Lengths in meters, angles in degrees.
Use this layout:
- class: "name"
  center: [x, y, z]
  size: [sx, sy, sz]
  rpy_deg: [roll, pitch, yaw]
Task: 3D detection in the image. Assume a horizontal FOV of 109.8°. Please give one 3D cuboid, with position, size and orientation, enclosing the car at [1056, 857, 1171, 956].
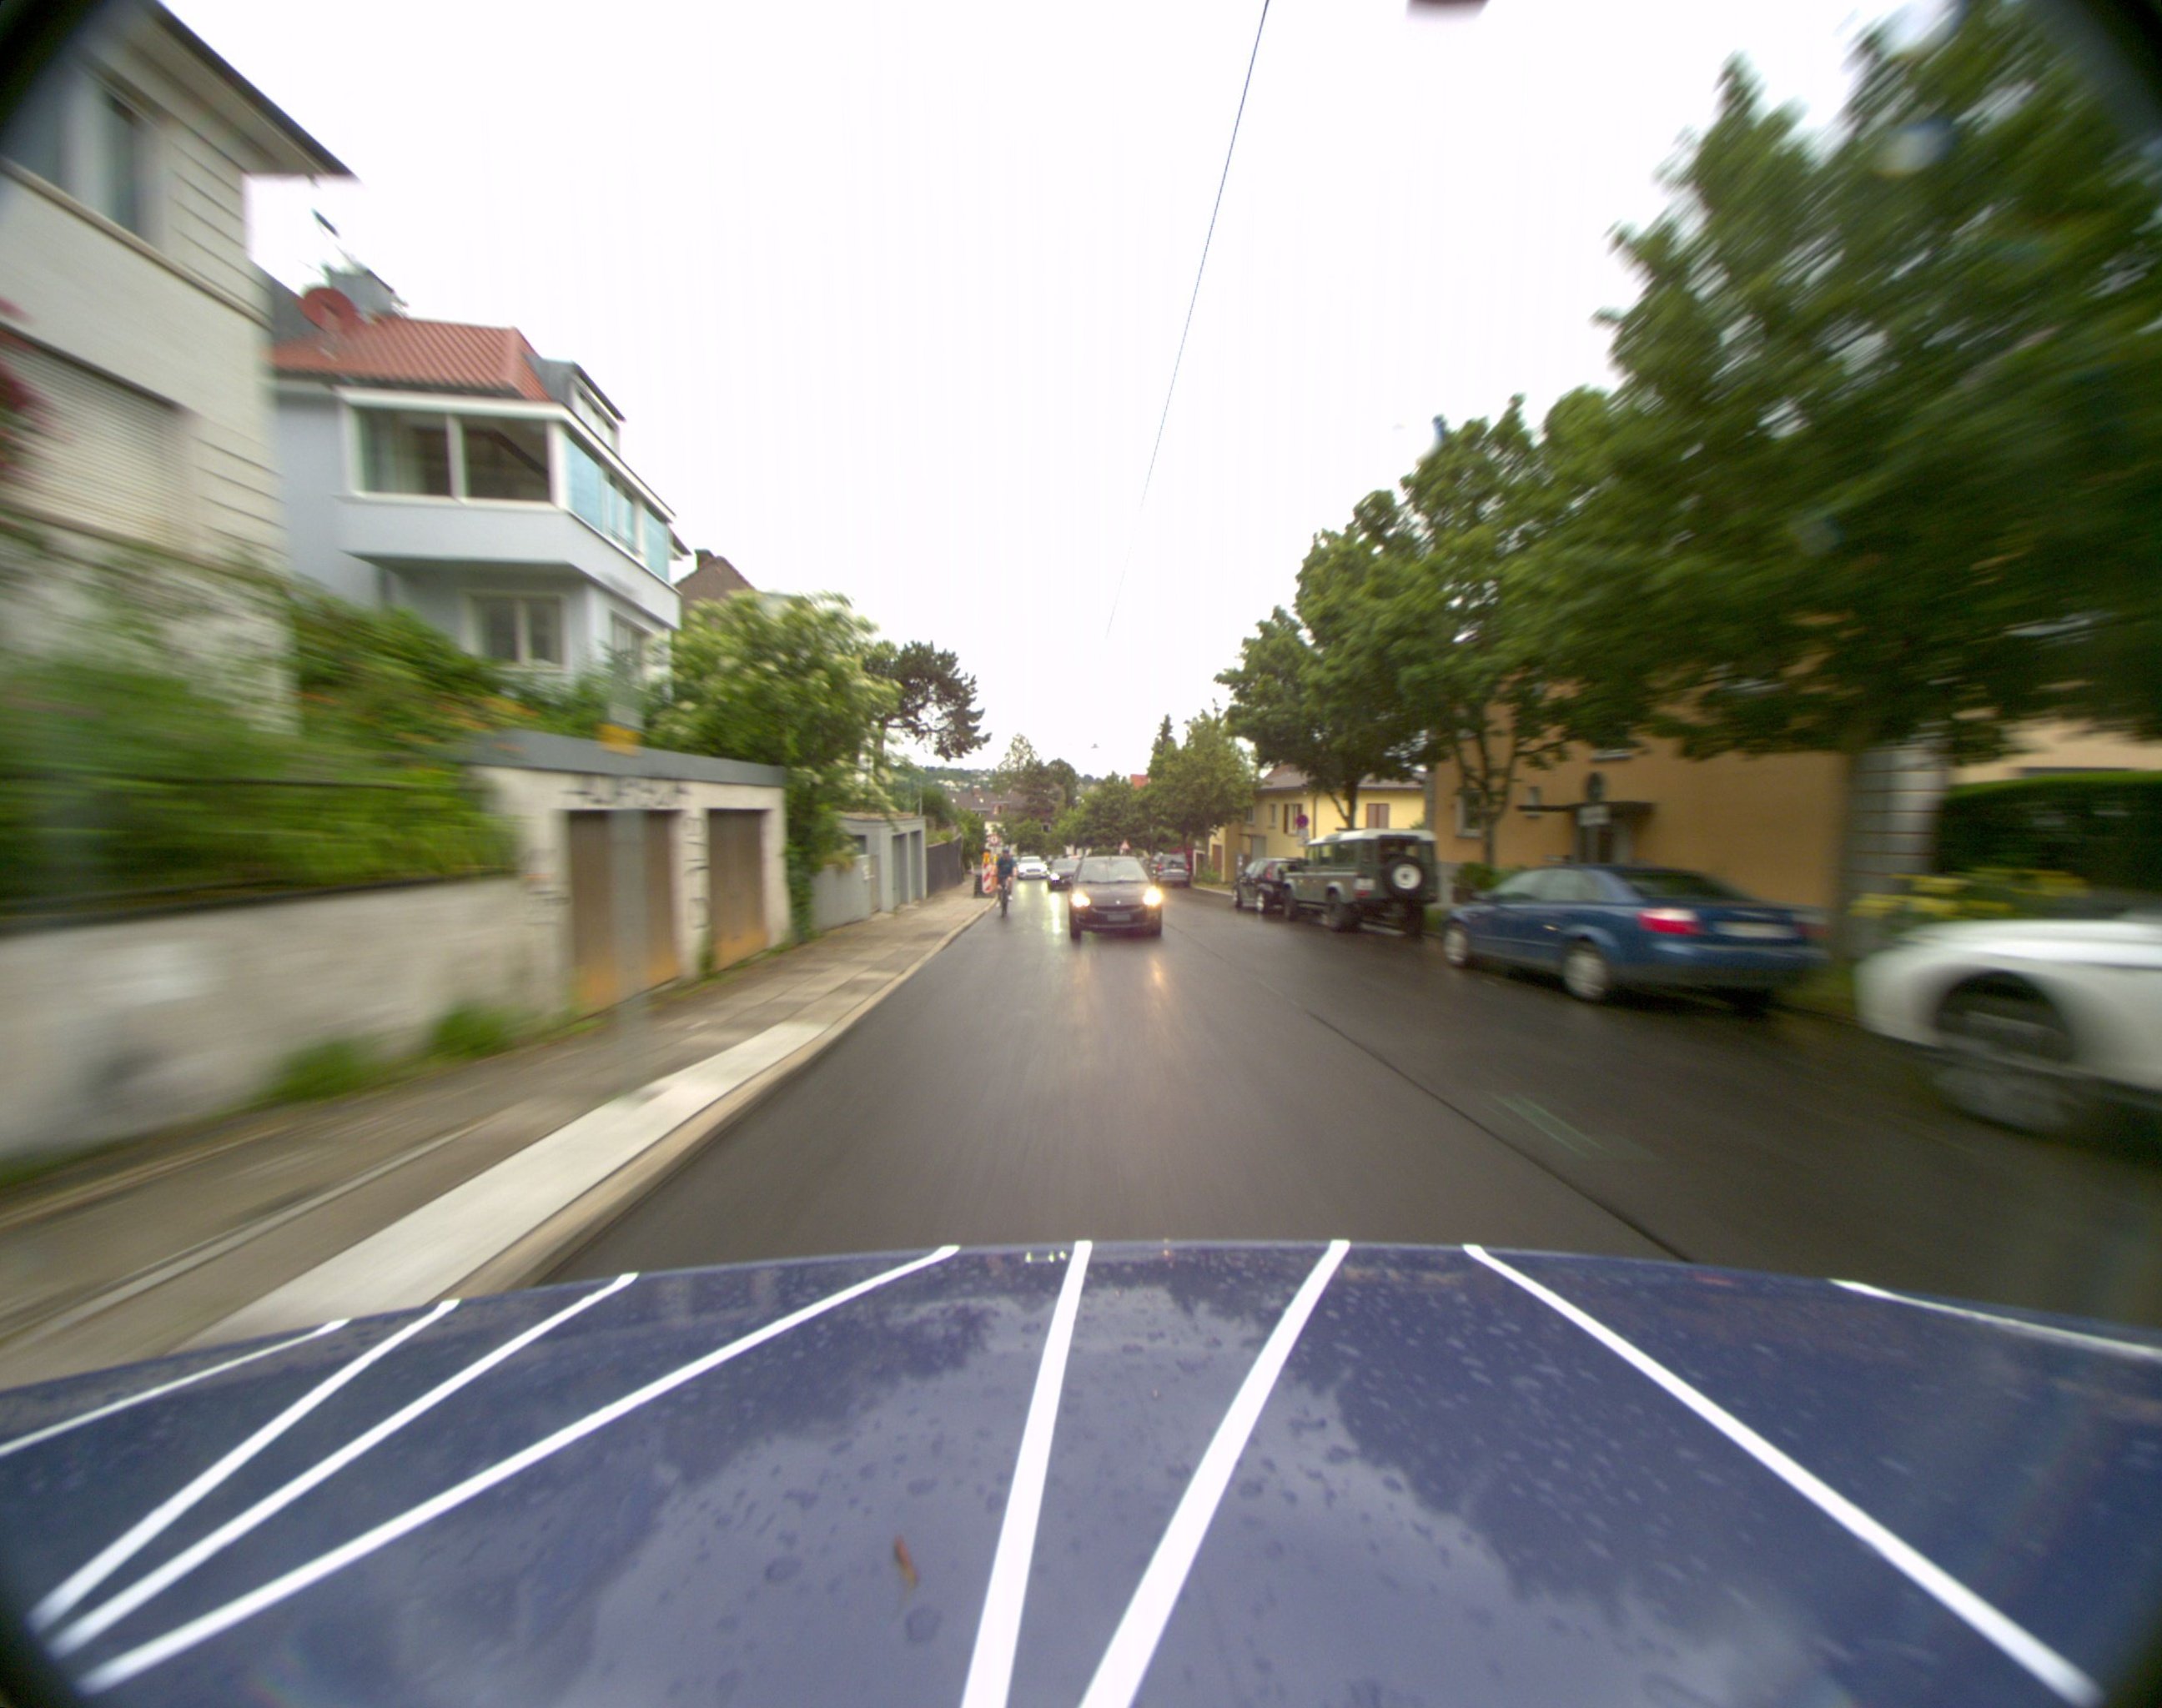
- class: "car"
  center: [0.584, 0.830, 14.077]
  size: [1.746, 1.434, 4.359]
  rpy_deg: [-2, 1, 2]

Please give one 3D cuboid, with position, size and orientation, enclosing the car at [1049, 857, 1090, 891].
- class: "car"
  center: [-0.561, 0.884, 35.487]
  size: [1.746, 1.433, 4.237]
  rpy_deg: [-2, 0, -1]

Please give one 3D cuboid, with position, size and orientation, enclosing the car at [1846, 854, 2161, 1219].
- class: "car"
  center: [5.693, 0.831, 2.477]
  size: [1.812, 1.604, 4.509]
  rpy_deg: [1, 0, 0]

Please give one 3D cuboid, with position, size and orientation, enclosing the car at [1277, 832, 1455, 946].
- class: "car"
  center: [5.766, 0.629, 16.074]
  size: [1.823, 2.000, 4.561]
  rpy_deg: [2, 0, -2]

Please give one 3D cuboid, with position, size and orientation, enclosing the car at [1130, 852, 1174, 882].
- class: "car"
  center: [3.924, 0.687, 42.554]
  size: [1.864, 1.563, 3.907]
  rpy_deg: [1, 0, -3]

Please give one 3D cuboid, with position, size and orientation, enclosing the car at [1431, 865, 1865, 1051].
- class: "car"
  center: [5.787, 0.915, 8.571]
  size: [1.622, 1.433, 4.267]
  rpy_deg: [2, 0, 0]

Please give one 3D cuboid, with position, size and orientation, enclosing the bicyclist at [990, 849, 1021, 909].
- class: "bicyclist"
  center: [-1.987, 0.655, 20.092]
  size: [0.685, 1.528, 0.784]
  rpy_deg: [-3, 1, -3]

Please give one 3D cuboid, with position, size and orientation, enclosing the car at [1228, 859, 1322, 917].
- class: "car"
  center: [5.323, 0.887, 21.272]
  size: [1.543, 1.365, 3.539]
  rpy_deg: [2, 0, -2]

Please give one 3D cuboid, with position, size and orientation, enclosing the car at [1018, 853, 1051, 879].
- class: "car"
  center: [-3.406, 0.864, 54.907]
  size: [2.019, 1.728, 4.595]
  rpy_deg: [-2, 0, -8]

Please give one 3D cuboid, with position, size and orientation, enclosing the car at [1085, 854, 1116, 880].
- class: "car"
  center: [1.583, 0.976, 59.906]
  size: [1.997, 2.002, 4.002]
  rpy_deg: [0, 0, 7]

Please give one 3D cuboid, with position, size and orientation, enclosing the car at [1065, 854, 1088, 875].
- class: "car"
  center: [-0.503, 0.981, 74.310]
  size: [1.999, 2.002, 3.998]
  rpy_deg: [0, 0, -4]

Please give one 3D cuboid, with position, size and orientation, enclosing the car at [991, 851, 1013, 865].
- class: "car"
  center: [-10.857, 0.584, 104.258]
  size: [2.002, 1.705, 3.995]
  rpy_deg: [-2, -2, -21]

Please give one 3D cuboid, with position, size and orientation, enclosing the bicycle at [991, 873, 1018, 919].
- class: "bicycle"
  center: [-1.989, 1.073, 19.936]
  size: [0.590, 1.092, 1.528]
  rpy_deg: [-2, 1, -3]

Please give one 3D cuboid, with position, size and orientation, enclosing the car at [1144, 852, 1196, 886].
- class: "car"
  center: [4.359, 0.687, 37.912]
  size: [1.910, 1.591, 4.088]
  rpy_deg: [0, 0, -3]
